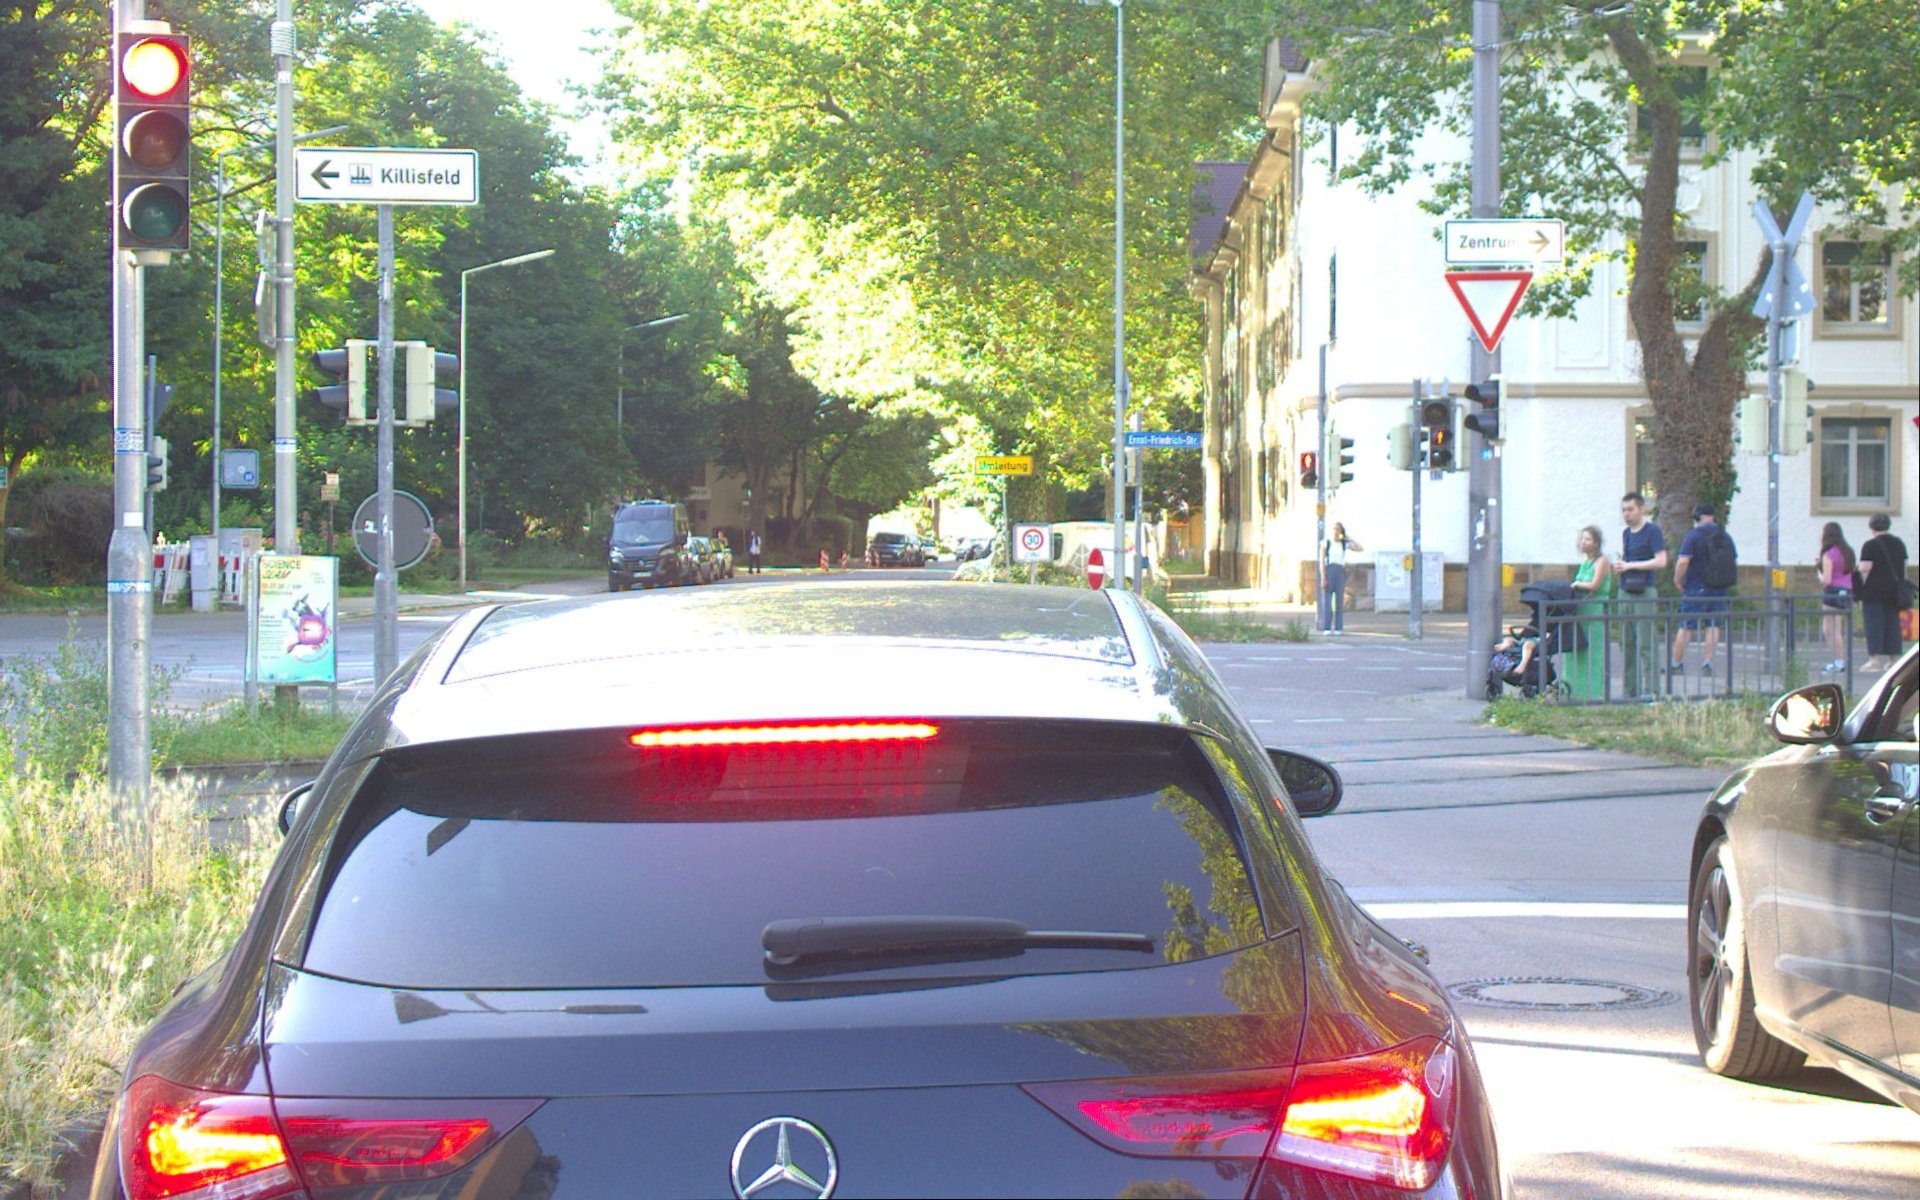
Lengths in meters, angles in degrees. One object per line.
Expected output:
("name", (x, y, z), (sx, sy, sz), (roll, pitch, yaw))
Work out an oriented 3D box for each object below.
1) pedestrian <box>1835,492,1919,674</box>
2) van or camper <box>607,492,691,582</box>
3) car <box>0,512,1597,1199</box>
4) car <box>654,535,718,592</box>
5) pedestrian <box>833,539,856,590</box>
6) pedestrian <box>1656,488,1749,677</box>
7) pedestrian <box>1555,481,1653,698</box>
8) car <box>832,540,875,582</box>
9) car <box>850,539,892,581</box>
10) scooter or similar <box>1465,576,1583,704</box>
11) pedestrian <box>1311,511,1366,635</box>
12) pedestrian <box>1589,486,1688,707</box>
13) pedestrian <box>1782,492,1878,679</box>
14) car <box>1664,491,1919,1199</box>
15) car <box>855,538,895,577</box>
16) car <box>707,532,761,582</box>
("pedestrian", (9.831, -0.180, 36.674), (0.705, 1.911, 0.839), (1, 0, -4))
("van or camper", (-8.998, -1.806, 99.741), (1.993, 2.532, 4.651), (1, 1, 0))
("car", (-0.312, 0.654, 5.373), (1.889, 1.445, 4.001), (1, 3, 1))
("car", (-8.692, -1.154, 109.311), (1.733, 1.759, 4.342), (1, 1, -1))
("pedestrian", (-4.373, -1.326, 130.030), (0.705, 1.911, 0.839), (1, 0, -10))
("pedestrian", (7.627, -0.181, 35.349), (0.705, 1.911, 0.839), (1, 0, -4))
("pedestrian", (5.783, -0.096, 30.895), (0.682, 1.911, 0.707), (1, 0, -4))
("car", (-4.488, -1.649, 145.526), (1.733, 1.759, 4.019), (1, 1, -1))
("car", (-3.885, -1.750, 150.387), (1.733, 1.759, 4.019), (1, 1, -1))
("scooter or similar", (4.964, 0.348, 30.309), (0.828, 1.101, 0.809), (1, 0, -6))
("pedestrian", (5.941, -0.425, 53.999), (0.705, 1.911, 0.839), (1, 0, -4))
("pedestrian", (5.941, -0.034, 30.123), (0.682, 1.911, 0.707), (1, 0, -2))
("pedestrian", (9.021, -0.151, 35.674), (0.705, 1.911, 0.839), (1, 0, -4))
("car", (2.915, 0.571, 7.339), (1.889, 1.485, 4.382), (1, 3, 0))
("car", (-3.908, -1.973, 158.469), (1.733, 1.759, 4.019), (1, 1, -1))
("car", (-8.221, -1.557, 125.381), (1.733, 1.759, 3.971), (1, 1, -1))
